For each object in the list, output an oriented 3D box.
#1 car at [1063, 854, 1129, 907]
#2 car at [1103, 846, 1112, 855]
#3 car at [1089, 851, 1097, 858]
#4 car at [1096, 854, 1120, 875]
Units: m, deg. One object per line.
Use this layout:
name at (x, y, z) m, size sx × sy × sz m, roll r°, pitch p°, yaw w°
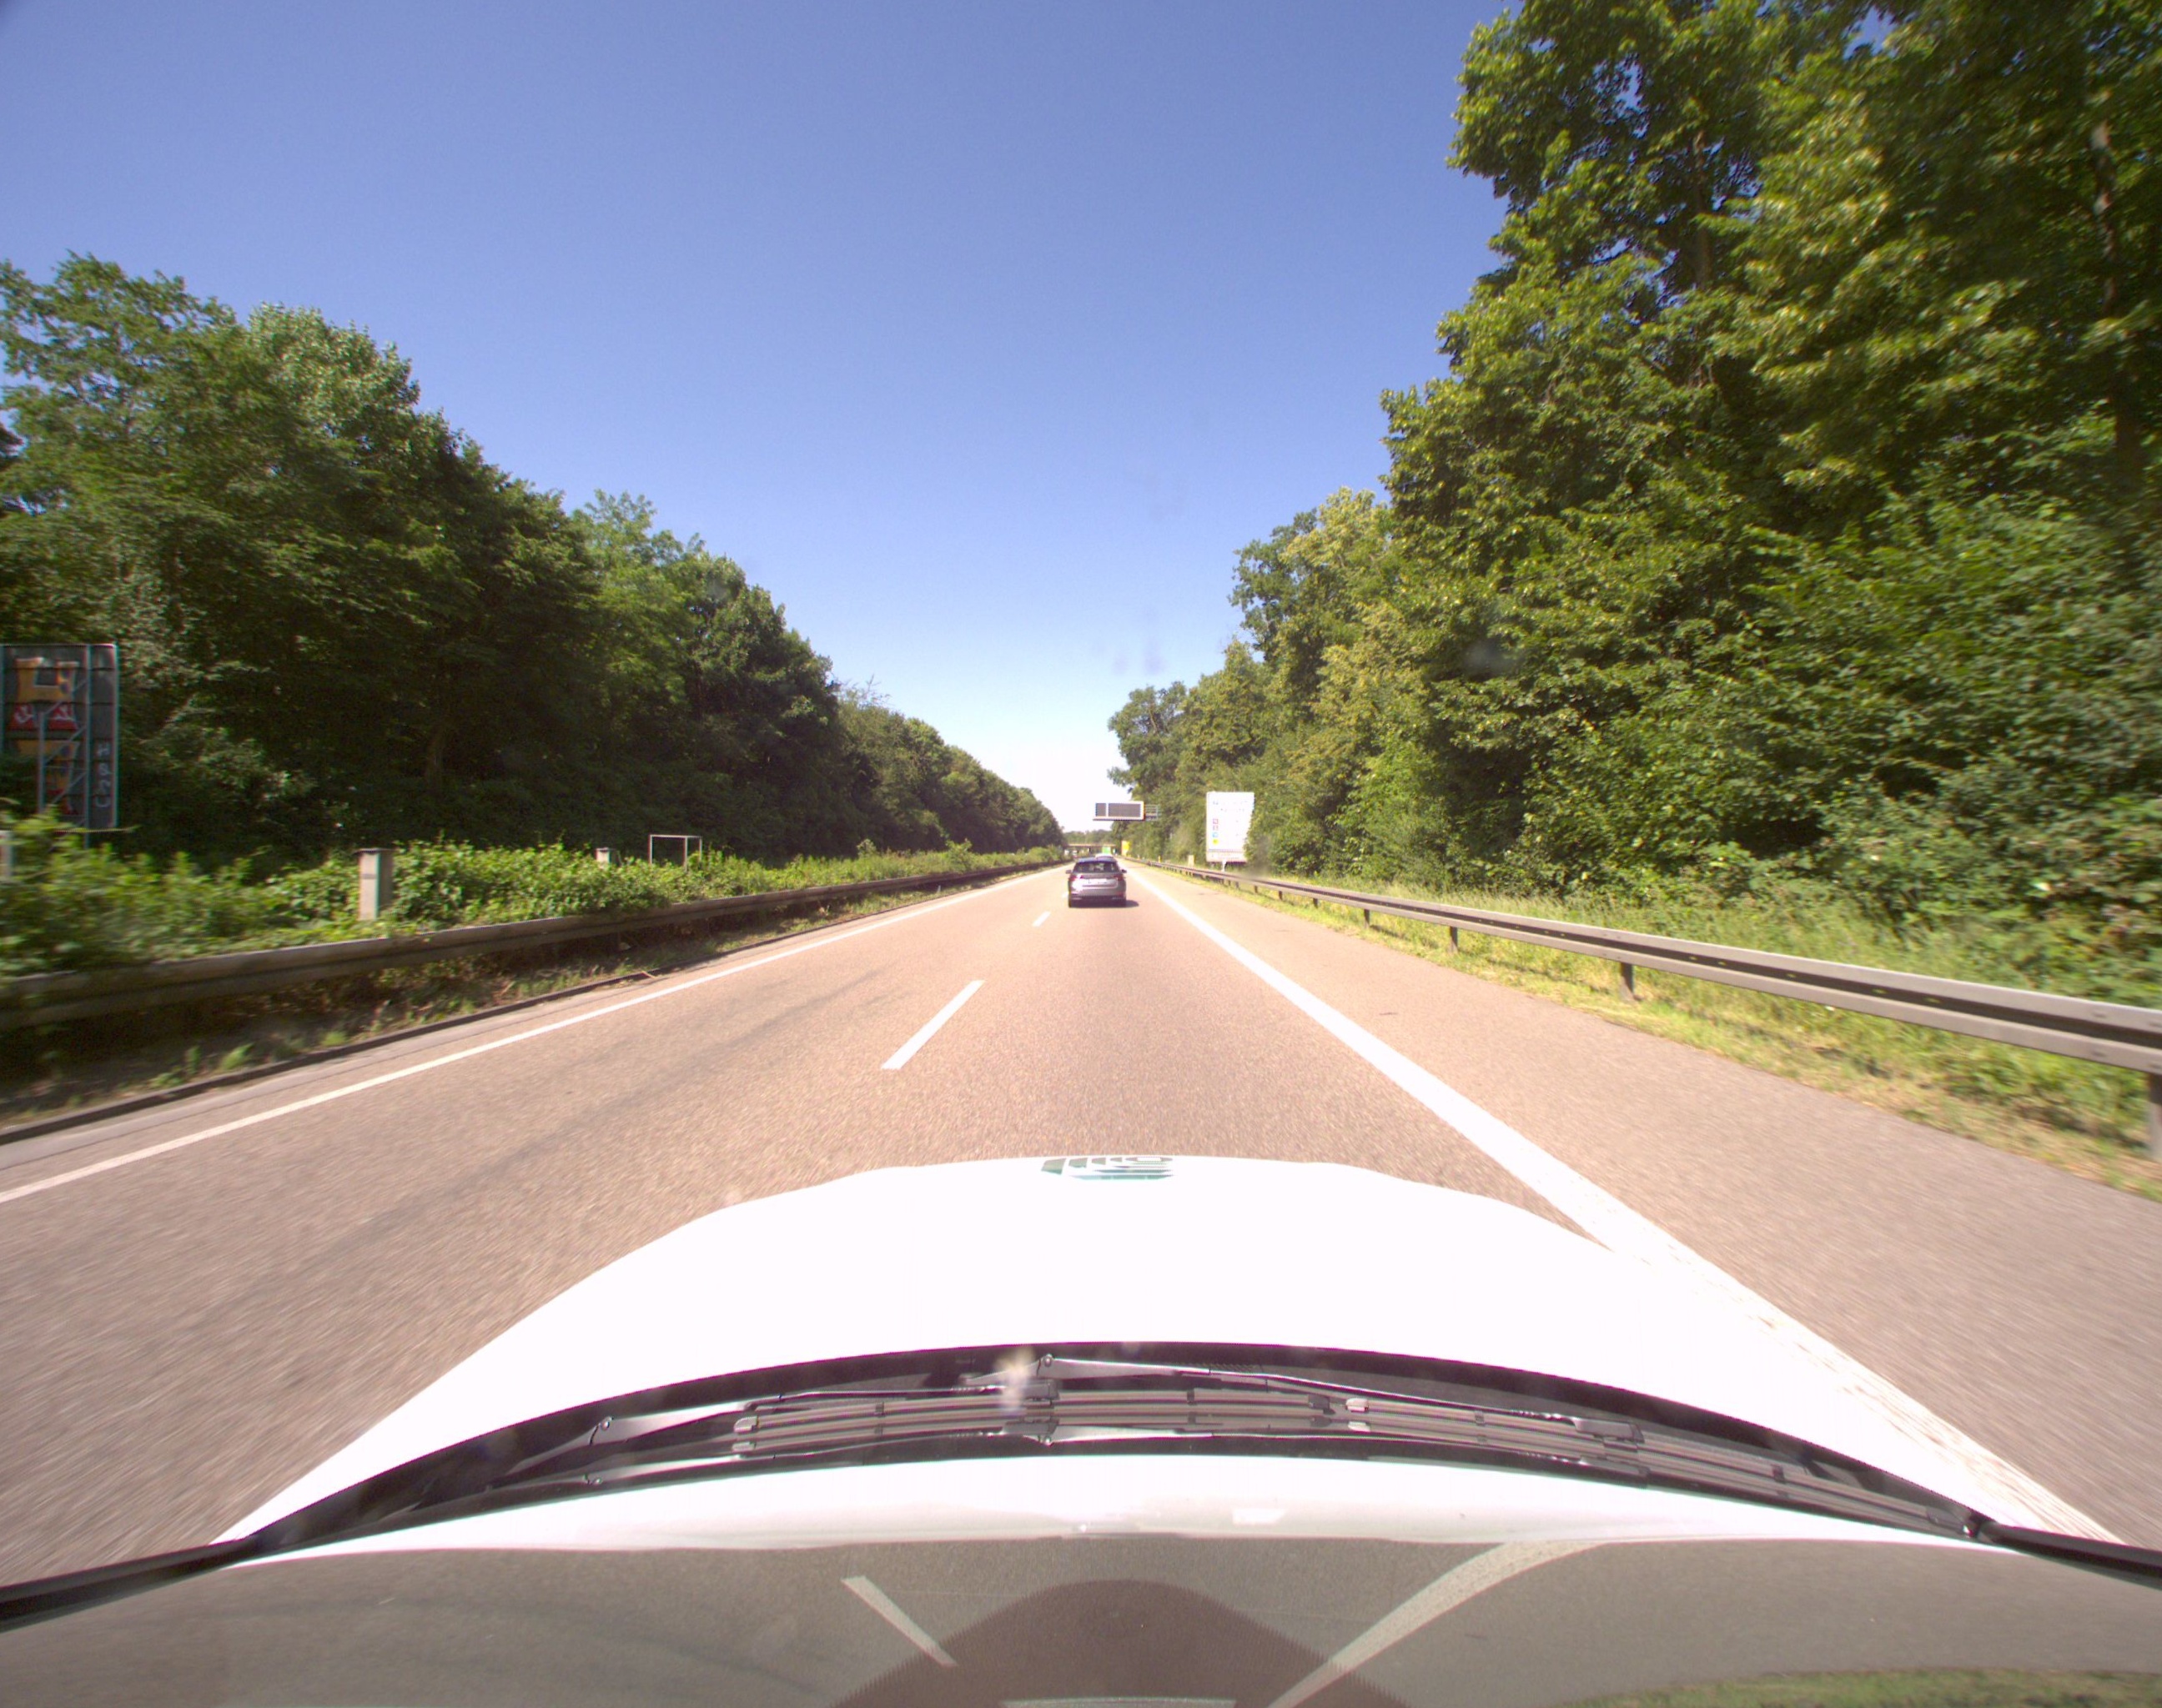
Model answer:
car at (0.519, 0.753, 24.634) m, size 1.832 × 1.472 × 3.627 m, roll 0°, pitch 0°, yaw 3°
car at (7.987, -1.183, 248.106) m, size 2.738 × 2.654 × 4.002 m, roll 0°, pitch -1°, yaw 2°
car at (3.244, 0.170, 221.240) m, size 1.986 × 2.014 × 4.002 m, roll 0°, pitch 0°, yaw 2°
car at (1.888, 0.709, 56.641) m, size 1.516 × 1.446 × 3.343 m, roll 0°, pitch 0°, yaw 3°
